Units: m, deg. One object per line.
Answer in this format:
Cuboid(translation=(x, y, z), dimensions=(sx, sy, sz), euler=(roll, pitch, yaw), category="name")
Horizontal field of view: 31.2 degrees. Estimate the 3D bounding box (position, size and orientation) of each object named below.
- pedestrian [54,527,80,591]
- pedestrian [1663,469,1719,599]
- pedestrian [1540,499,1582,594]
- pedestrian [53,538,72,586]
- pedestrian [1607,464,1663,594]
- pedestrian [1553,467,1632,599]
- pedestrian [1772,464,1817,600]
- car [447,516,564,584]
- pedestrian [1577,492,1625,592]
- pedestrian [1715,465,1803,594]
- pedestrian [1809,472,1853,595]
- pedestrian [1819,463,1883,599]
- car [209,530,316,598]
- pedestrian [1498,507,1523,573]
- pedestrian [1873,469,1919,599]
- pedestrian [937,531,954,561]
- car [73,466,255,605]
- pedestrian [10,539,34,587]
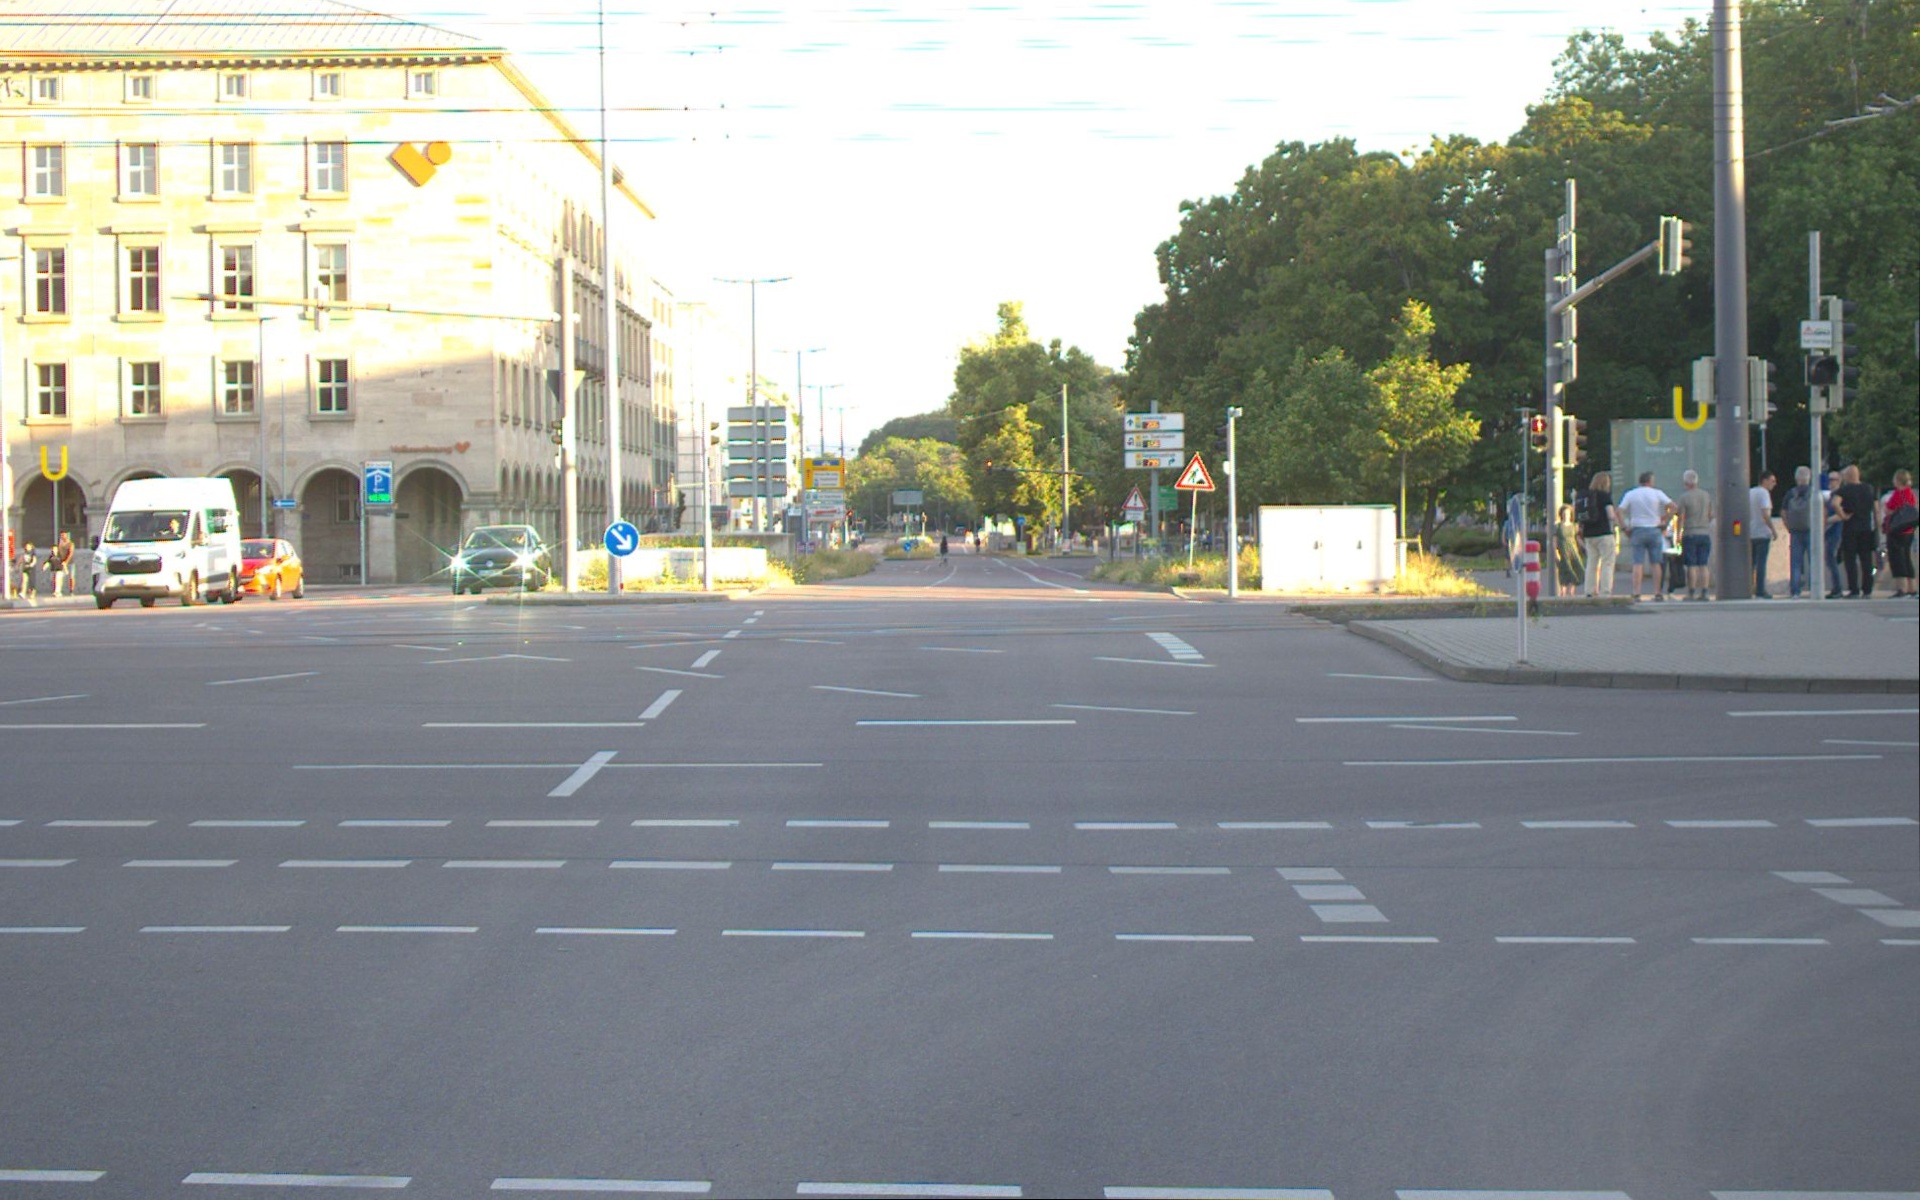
Cuboid(translation=(-24.617, -1.136, 94.785), dimensions=(0.621, 1.738, 0.460), euler=(1, 0, -5), category="pedestrian")
Cuboid(translation=(9.736, -0.883, 45.788), dimensions=(0.711, 1.719, 0.668), euler=(0, 2, 13), category="pedestrian")
Cuboid(translation=(10.592, -0.948, 60.554), dimensions=(0.560, 1.649, 0.901), euler=(0, 2, 20), category="pedestrian")
Cuboid(translation=(-24.489, -1.033, 93.798), dimensions=(0.420, 1.296, 0.460), euler=(1, 0, -5), category="pedestrian")
Cuboid(translation=(9.030, -0.953, 46.031), dimensions=(0.711, 1.719, 0.668), euler=(0, 2, 10), category="pedestrian")
Cuboid(translation=(8.353, -0.895, 45.383), dimensions=(0.712, 1.719, 0.913), euler=(1, 2, 34), category="pedestrian")
Cuboid(translation=(11.100, -0.906, 45.717), dimensions=(0.572, 1.785, 0.638), euler=(0, 2, 14), category="pedestrian")
Cuboid(translation=(-9.560, -1.074, 72.633), dimensions=(1.823, 1.337, 4.000), euler=(-1, 2, 2), category="car")
Cuboid(translation=(11.283, -1.027, 60.533), dimensions=(0.680, 1.751, 0.901), euler=(0, 2, 20), category="pedestrian")
Cuboid(translation=(10.805, -0.964, 46.526), dimensions=(0.912, 1.719, 0.713), euler=(-1, 2, -22), category="pedestrian")
Cuboid(translation=(11.938, -0.920, 47.128), dimensions=(0.572, 1.673, 0.638), euler=(0, 2, 14), category="pedestrian")
Cuboid(translation=(11.827, -0.924, 45.657), dimensions=(0.805, 1.785, 0.800), euler=(0, 2, 14), category="pedestrian")
Cuboid(translation=(-16.440, -0.874, 81.188), dimensions=(1.738, 1.482, 4.001), euler=(-1, 2, -1), category="car")
Cuboid(translation=(14.808, -1.625, 92.457), dimensions=(0.642, 1.754, 0.524), euler=(0, 2, 8), category="pedestrian")
Cuboid(translation=(12.677, -0.888, 46.027), dimensions=(0.845, 1.728, 0.705), euler=(0, 2, 12), category="pedestrian")
Cuboid(translation=(-0.816, -3.076, 194.934), dimensions=(0.906, 1.665, 1.307), euler=(-1, 2, -1), category="pedestrian")
Cuboid(translation=(-16.697, -1.383, 72.478), dimensions=(2.279, 2.766, 6.084), euler=(-1, 2, 1), category="car")
Cuboid(translation=(-25.586, -1.003, 93.805), dimensions=(0.505, 1.296, 0.701), euler=(1, 0, -5), category="pedestrian")
